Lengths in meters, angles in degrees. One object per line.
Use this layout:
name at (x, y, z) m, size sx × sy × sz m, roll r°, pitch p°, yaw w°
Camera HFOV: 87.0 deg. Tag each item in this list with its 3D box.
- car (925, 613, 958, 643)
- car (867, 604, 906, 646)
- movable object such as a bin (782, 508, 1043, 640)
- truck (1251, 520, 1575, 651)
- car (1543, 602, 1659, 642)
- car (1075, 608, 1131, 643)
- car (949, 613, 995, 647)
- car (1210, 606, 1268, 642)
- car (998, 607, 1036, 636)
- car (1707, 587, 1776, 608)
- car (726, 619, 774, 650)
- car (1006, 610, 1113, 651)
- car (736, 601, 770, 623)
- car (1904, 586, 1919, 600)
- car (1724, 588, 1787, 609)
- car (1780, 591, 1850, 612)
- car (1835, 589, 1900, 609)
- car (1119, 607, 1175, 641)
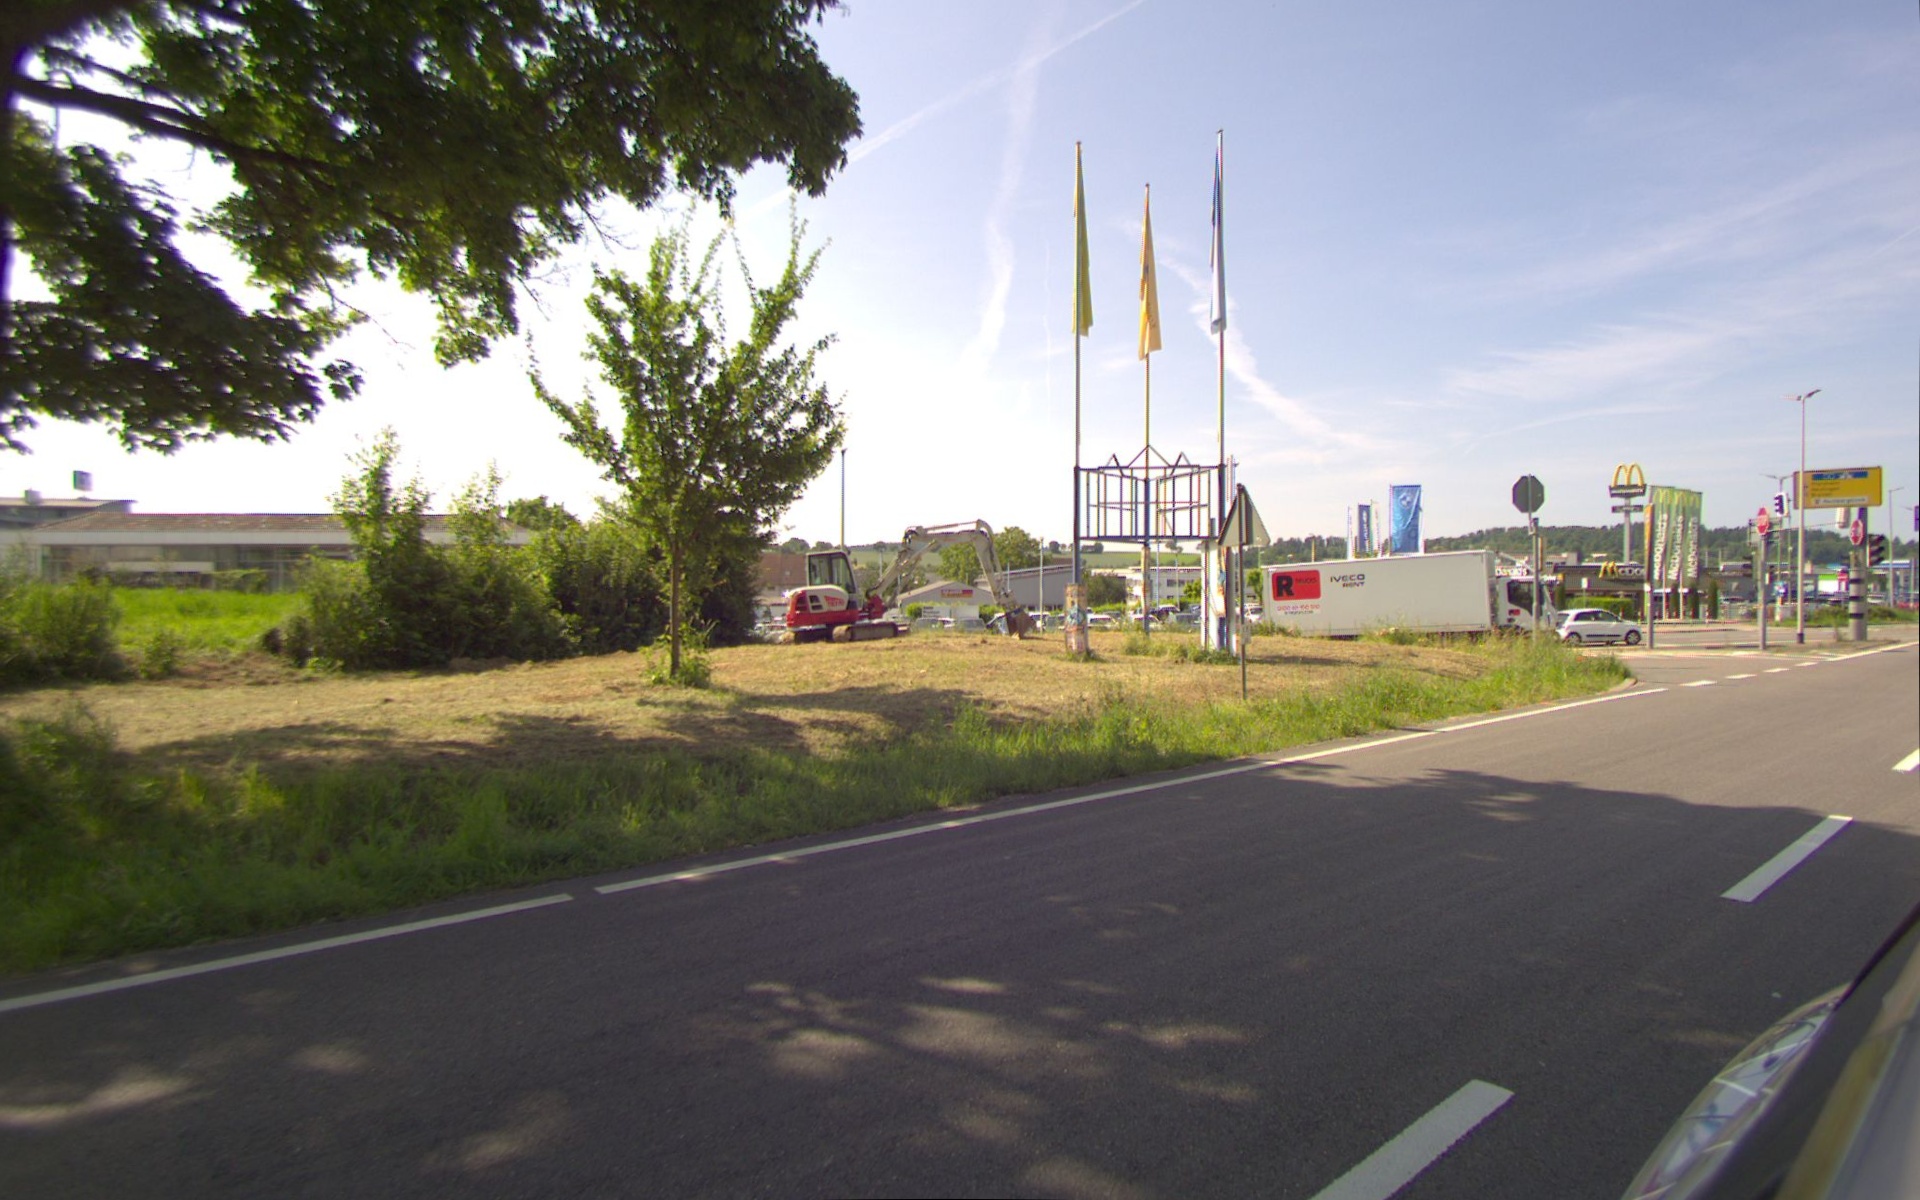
car at (-1.235, 1.757, 64.937) m, size 1.969 × 1.638 × 4.085 m, roll 1°, pitch 2°, yaw -3°
car at (-4.111, 1.347, 56.123) m, size 2.027 × 2.060 × 4.087 m, roll 1°, pitch 2°, yaw -6°
movable object such as a bin at (-1.270, -0.700, 27.058) m, size 6.573 × 3.247 × 2.904 m, roll 1°, pitch 1°, yaw -3°
truck at (15.228, -0.338, 34.602) m, size 9.631 × 3.674 × 2.734 m, roll -4°, pitch -2°, yaw 34°
car at (26.704, 0.909, 42.252) m, size 3.684 × 1.523 × 1.711 m, roll -2°, pitch 0°, yaw 0°
car at (7.935, 1.390, 56.479) m, size 2.049 × 1.638 × 4.481 m, roll 1°, pitch 2°, yaw -6°
car at (0.620, 1.640, 56.129) m, size 2.049 × 1.638 × 4.006 m, roll 1°, pitch 2°, yaw -6°
car at (15.510, 1.285, 56.385) m, size 1.961 × 1.749 × 4.003 m, roll 1°, pitch 2°, yaw -2°
car at (3.654, 1.346, 65.094) m, size 1.969 × 1.638 × 4.085 m, roll 1°, pitch 2°, yaw -3°
car at (69.529, -0.225, 90.067) m, size 4.724 × 1.691 × 1.914 m, roll 1°, pitch 2°, yaw -2°
car at (-11.570, 1.877, 55.964) m, size 1.961 × 1.389 × 4.003 m, roll 1°, pitch 2°, yaw -3°
car at (4.039, 1.231, 41.652) m, size 4.242 × 1.478 × 1.999 m, roll -1°, pitch 1°, yaw 3°
car at (-17.025, 0.943, 83.386) m, size 1.971 × 1.638 × 4.191 m, roll 1°, pitch 2°, yaw 0°
car at (117.418, -0.843, 123.787) m, size 4.450 × 1.675 × 1.777 m, roll 0°, pitch 2°, yaw -33°
car at (69.014, -0.160, 87.800) m, size 4.088 × 1.691 × 1.777 m, roll 1°, pitch 1°, yaw -2°
car at (70.219, 0.126, 83.125) m, size 4.150 × 1.596 × 1.862 m, roll 1°, pitch 2°, yaw -2°
car at (82.595, -0.117, 92.178) m, size 3.978 × 1.691 × 1.764 m, roll 2°, pitch 2°, yaw 22°
car at (10.393, 1.329, 56.618) m, size 1.960 × 1.638 × 4.485 m, roll 1°, pitch 2°, yaw -4°
